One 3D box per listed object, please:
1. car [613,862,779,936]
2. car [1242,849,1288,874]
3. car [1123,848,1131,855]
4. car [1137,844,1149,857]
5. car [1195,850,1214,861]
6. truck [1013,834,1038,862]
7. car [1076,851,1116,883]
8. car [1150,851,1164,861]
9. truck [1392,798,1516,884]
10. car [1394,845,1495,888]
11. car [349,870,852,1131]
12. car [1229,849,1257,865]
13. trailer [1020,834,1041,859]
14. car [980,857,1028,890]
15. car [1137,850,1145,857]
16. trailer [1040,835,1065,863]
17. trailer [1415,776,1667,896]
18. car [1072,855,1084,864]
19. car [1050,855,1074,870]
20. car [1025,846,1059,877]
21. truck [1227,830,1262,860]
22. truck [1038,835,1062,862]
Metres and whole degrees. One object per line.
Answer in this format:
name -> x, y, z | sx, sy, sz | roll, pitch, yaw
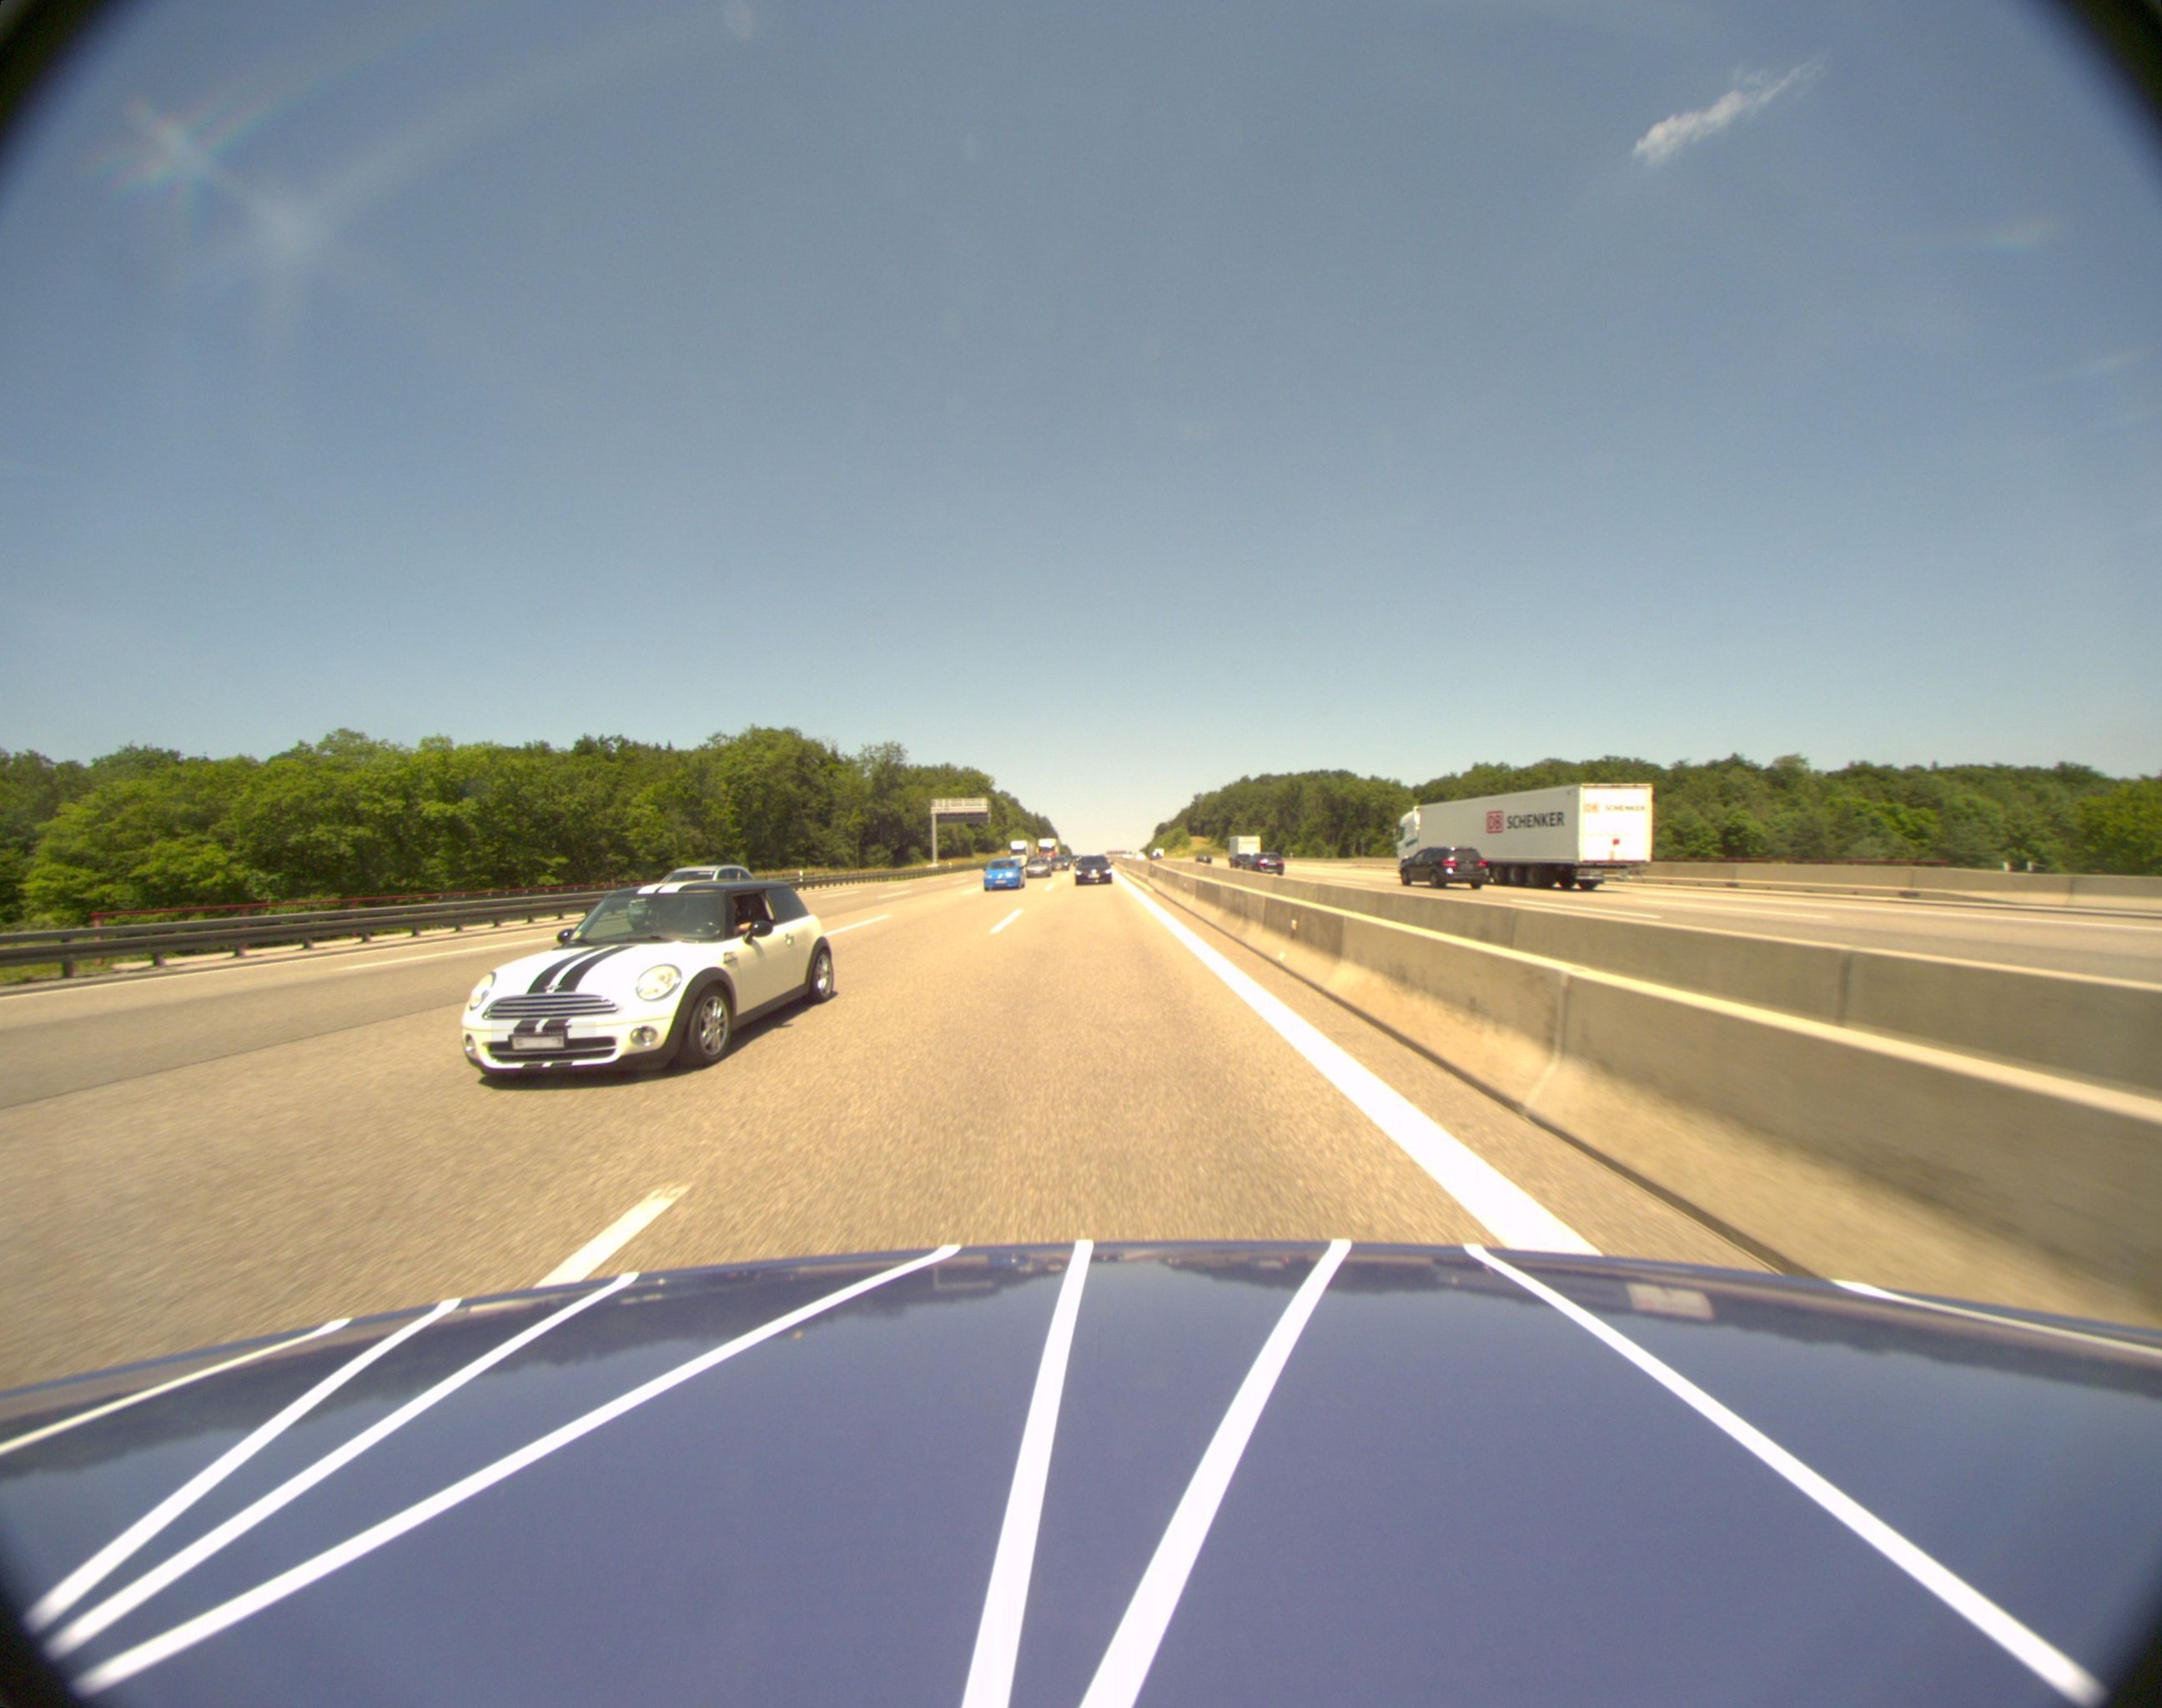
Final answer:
car -> -10.445, 1.140, 21.171 | 1.805, 1.720, 5.240 | -3, -1, 1
car -> 11.615, 0.426, 48.295 | 1.802, 1.472, 4.720 | -1, 0, 1
car -> 11.350, -0.624, 188.877 | 1.853, 1.514, 5.319 | 0, 0, 1
car -> 10.366, -0.560, 126.927 | 1.778, 1.868, 5.212 | -3, -1, 3
car -> 16.252, 0.235, 99.849 | 1.802, 1.368, 4.531 | -1, 0, 1
truck -> -8.882, -0.862, 123.524 | 2.728, 4.136, 10.971 | -3, -1, 2
car -> 0.752, 0.632, 37.379 | 1.777, 1.425, 4.144 | -3, -1, 2
car -> 13.835, 0.423, 138.576 | 1.998, 1.724, 4.925 | -3, 0, 1
truck -> 19.332, -0.642, 40.059 | 2.722, 4.076, 7.876 | 0, 0, 1
car -> 14.845, 0.470, 31.356 | 1.802, 1.633, 5.079 | 0, 0, 1
car -> -3.682, 0.986, 6.856 | 1.845, 1.543, 4.000 | -2, 0, 2
car -> 15.386, 0.240, 72.494 | 1.802, 1.472, 4.397 | -1, 0, 1
trailer -> -8.687, -1.250, 131.580 | 2.585, 4.045, 8.384 | -3, -1, 2
car -> -3.582, 0.877, 35.989 | 1.741, 1.403, 4.000 | -2, 0, 2
car -> 15.857, -0.039, 201.225 | 1.998, 1.777, 5.319 | 0, 0, 1
trailer -> -4.521, -0.730, 123.583 | 2.926, 4.118, 14.852 | -1, -1, 1
trailer -> 19.260, -0.654, 33.793 | 2.649, 4.200, 14.361 | 0, 0, 1
car -> -0.542, 0.996, 135.618 | 1.910, 1.503, 4.161 | -3, -1, 2
car -> -1.861, 0.853, 75.677 | 1.971, 1.444, 5.226 | -2, -1, 3
car -> -2.799, 0.533, 55.502 | 1.966, 2.041, 4.784 | -3, 0, 2
truck -> 20.318, -1.134, 94.679 | 2.546, 3.550, 8.576 | 0, 0, 1
truck -> -4.705, -0.772, 116.757 | 3.018, 3.957, 7.542 | -2, -1, 1
